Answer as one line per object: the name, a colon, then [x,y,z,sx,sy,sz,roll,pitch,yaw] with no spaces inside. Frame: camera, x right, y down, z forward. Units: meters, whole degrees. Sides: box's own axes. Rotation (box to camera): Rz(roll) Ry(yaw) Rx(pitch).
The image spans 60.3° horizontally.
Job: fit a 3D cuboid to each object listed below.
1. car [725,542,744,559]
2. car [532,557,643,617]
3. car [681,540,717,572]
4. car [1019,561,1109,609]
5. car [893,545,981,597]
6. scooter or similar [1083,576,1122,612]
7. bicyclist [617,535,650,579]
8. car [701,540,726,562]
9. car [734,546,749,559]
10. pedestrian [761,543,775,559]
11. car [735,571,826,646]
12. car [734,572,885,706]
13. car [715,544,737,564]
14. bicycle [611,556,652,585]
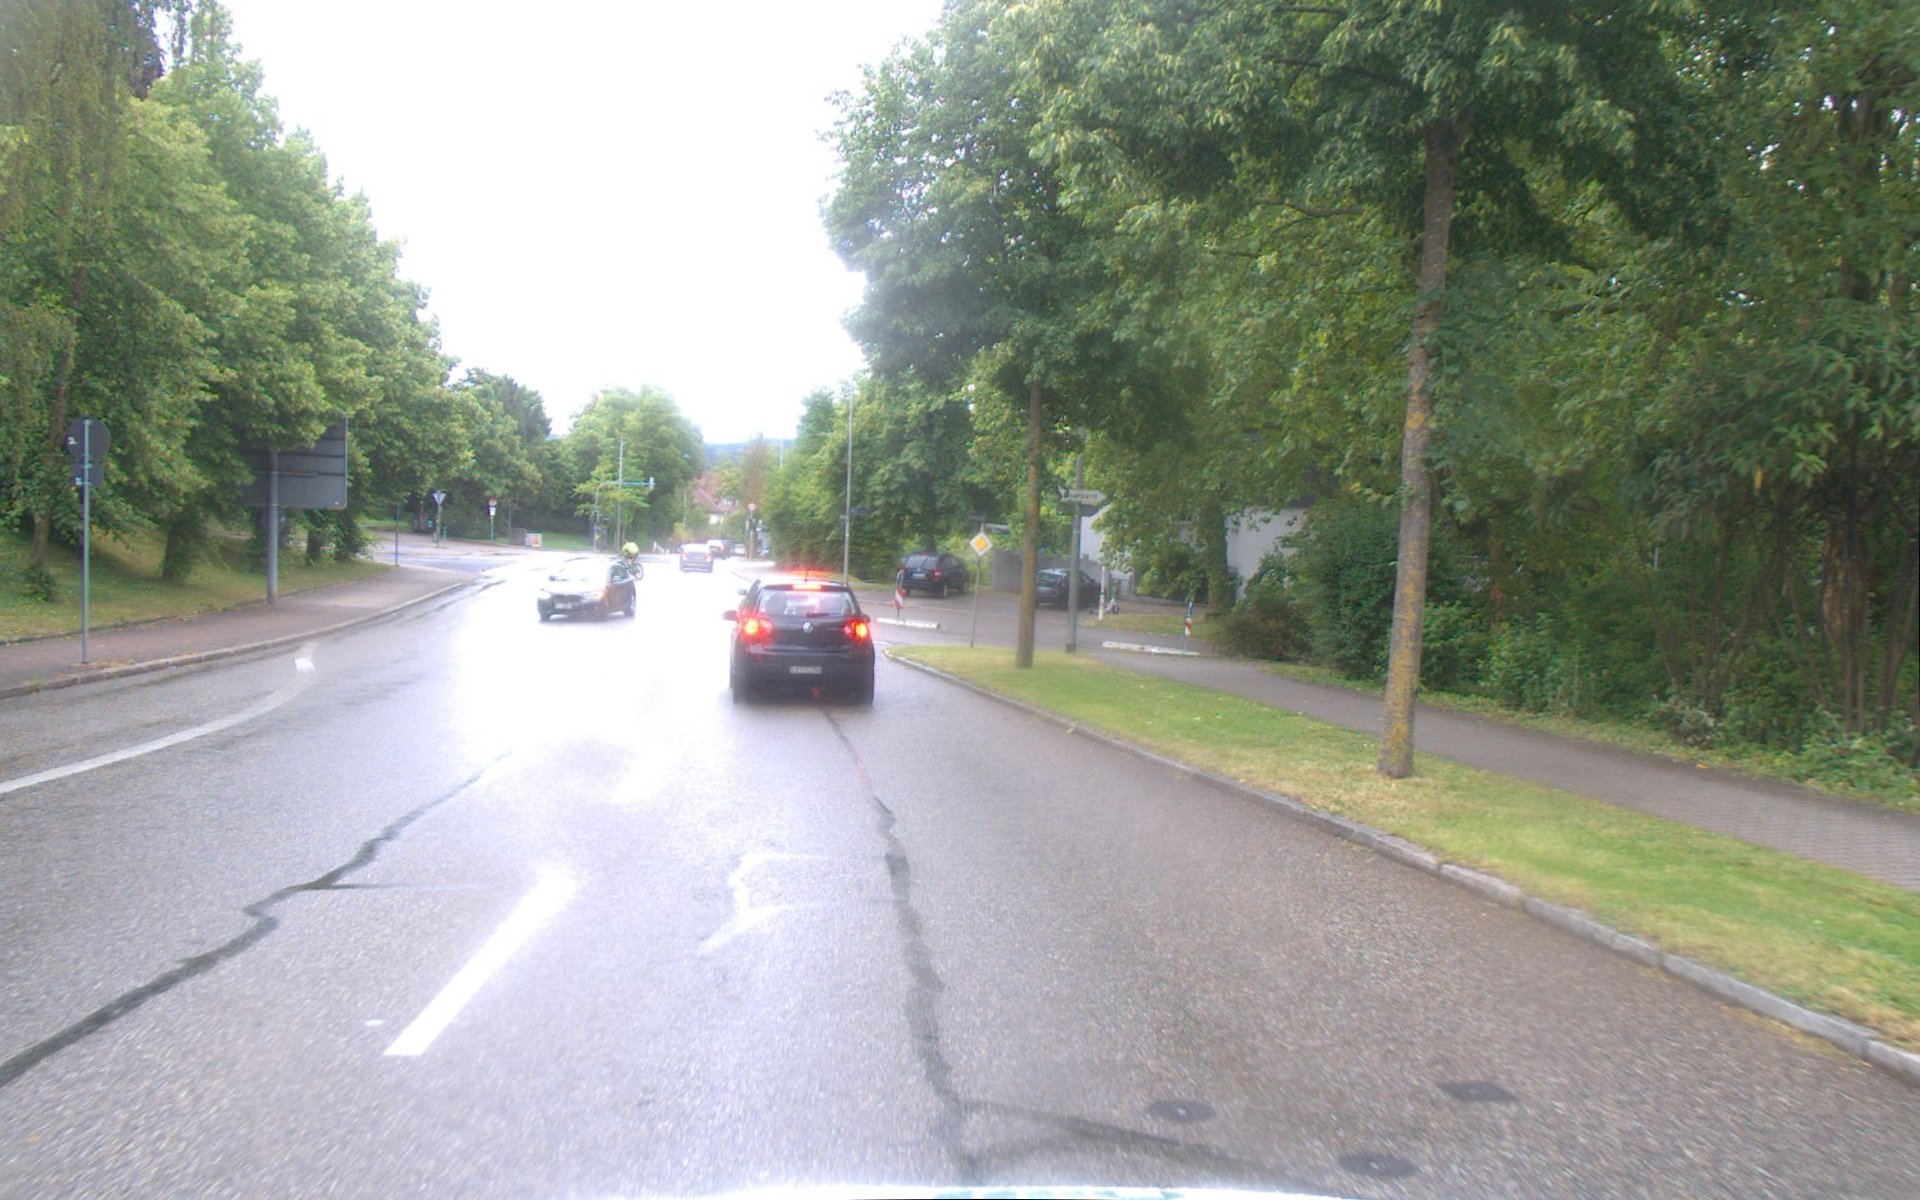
car: [-22.818,-5.023,167.320,1.690,1.489,3.994,5,1,-8]
car: [-9.593,-0.308,42.909,1.685,1.408,4.141,2,0,3]
car: [-13.662,-2.306,86.734,1.690,1.489,3.994,5,1,-8]
car: [4.026,-0.615,63.401,1.718,1.494,4.562,6,5,27]
car: [-0.862,-1.190,65.187,1.907,1.718,4.907,5,5,18]
scooter or similar: [5.287,-0.216,61.210,1.314,1.308,0.559,1,1,-16]
bicyclist: [-13.720,-1.809,69.506,0.846,1.786,1.267,2,0,-40]
car: [-18.186,-3.625,122.132,1.690,1.489,3.994,5,1,-8]
car: [-26.836,-5.854,202.906,1.690,1.489,3.994,5,1,-8]
pedestrian: [-16.728,-4.289,144.199,1.051,1.379,0.918,1,1,0]
car: [-4.100,0.151,37.313,1.722,1.489,3.991,2,1,-10]
car: [-1.999,0.445,21.208,1.689,1.489,3.993,2,0,-7]
car: [-19.728,-3.924,139.659,1.690,1.489,3.994,5,1,-8]
bicycle: [-13.824,-1.239,69.604,0.846,1.175,2.009,2,1,-40]
